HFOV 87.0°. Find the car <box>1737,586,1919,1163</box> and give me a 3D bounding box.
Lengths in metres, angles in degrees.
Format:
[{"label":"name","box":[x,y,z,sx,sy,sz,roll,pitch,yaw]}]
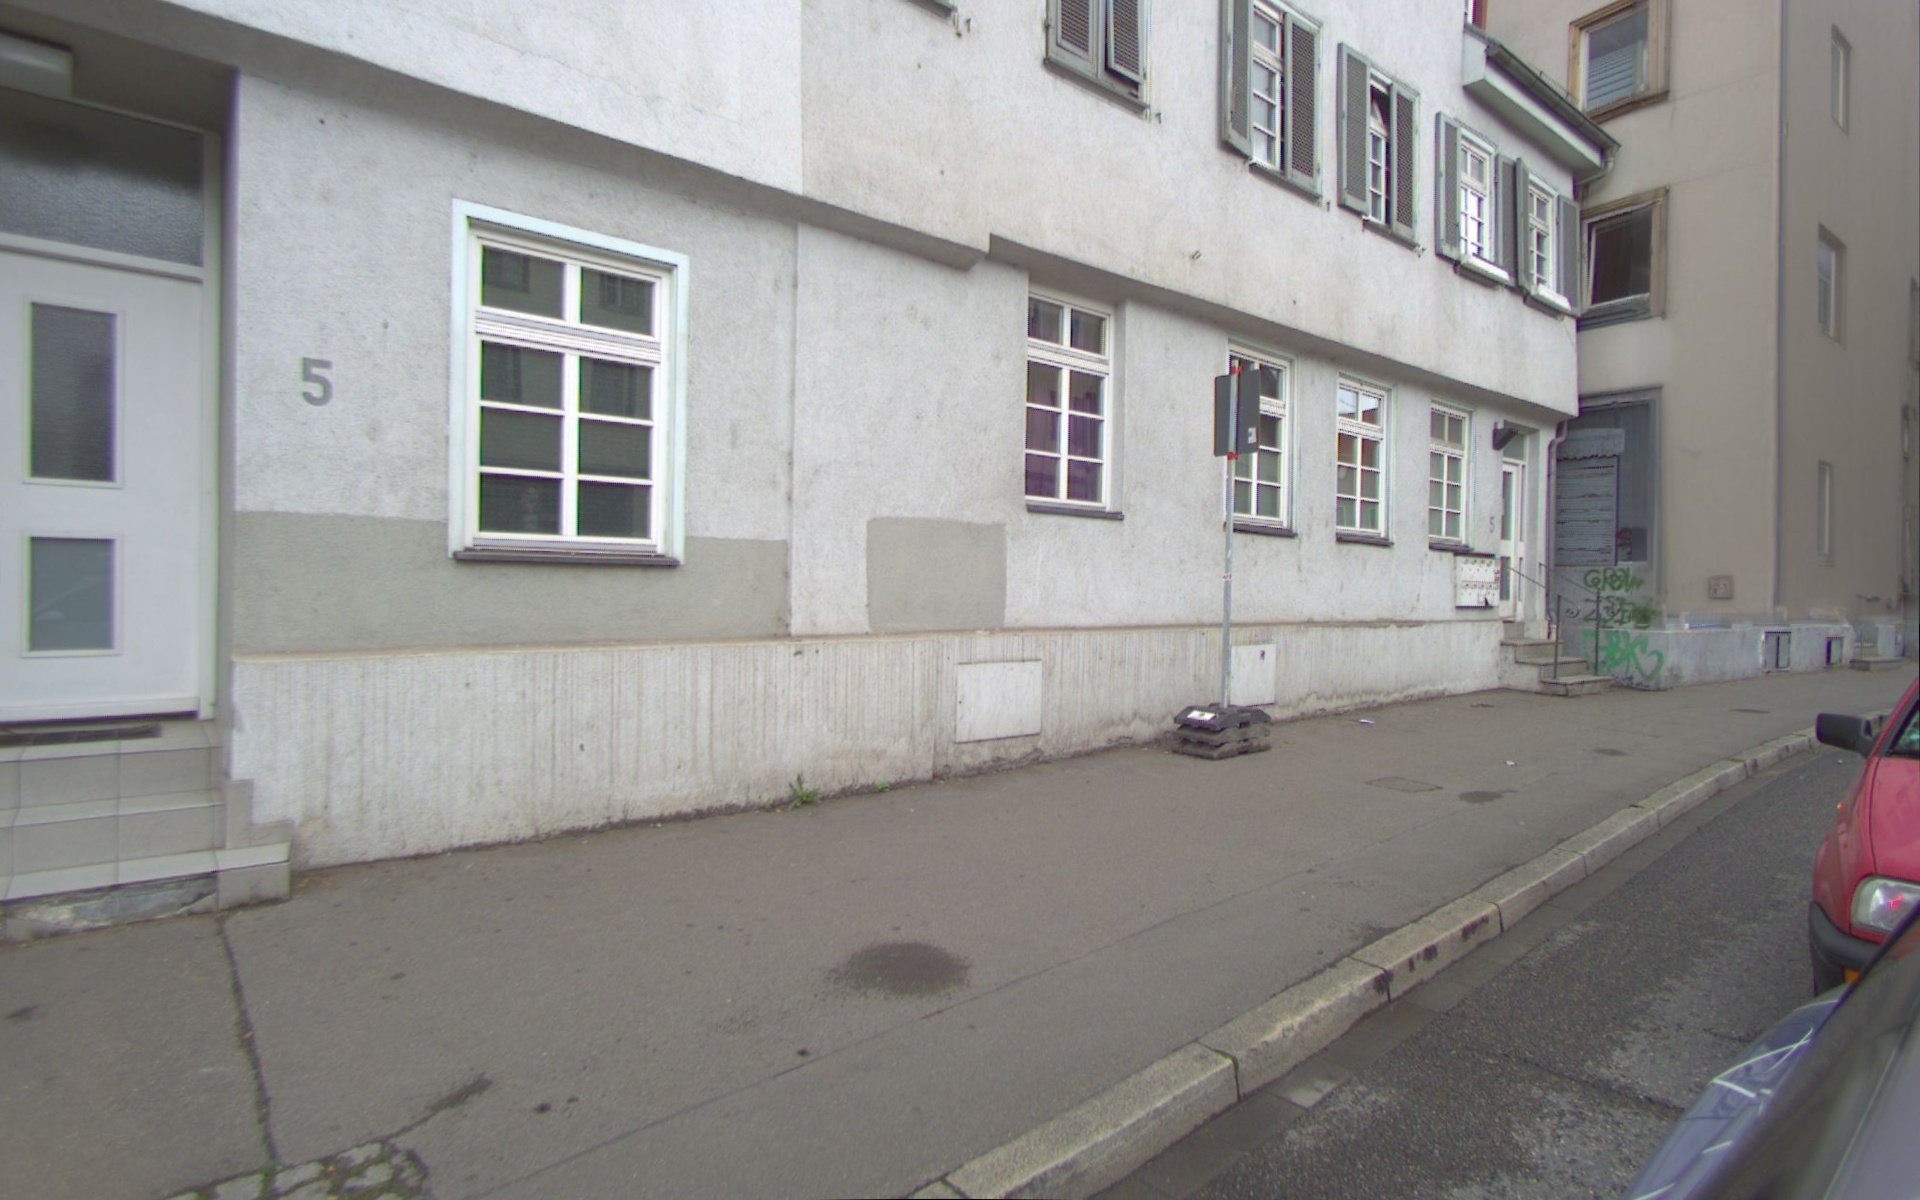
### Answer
[{"label":"car","box":[4.392,0.705,3.508,3.928,1.443,1.793,-3,3,-38]}]
